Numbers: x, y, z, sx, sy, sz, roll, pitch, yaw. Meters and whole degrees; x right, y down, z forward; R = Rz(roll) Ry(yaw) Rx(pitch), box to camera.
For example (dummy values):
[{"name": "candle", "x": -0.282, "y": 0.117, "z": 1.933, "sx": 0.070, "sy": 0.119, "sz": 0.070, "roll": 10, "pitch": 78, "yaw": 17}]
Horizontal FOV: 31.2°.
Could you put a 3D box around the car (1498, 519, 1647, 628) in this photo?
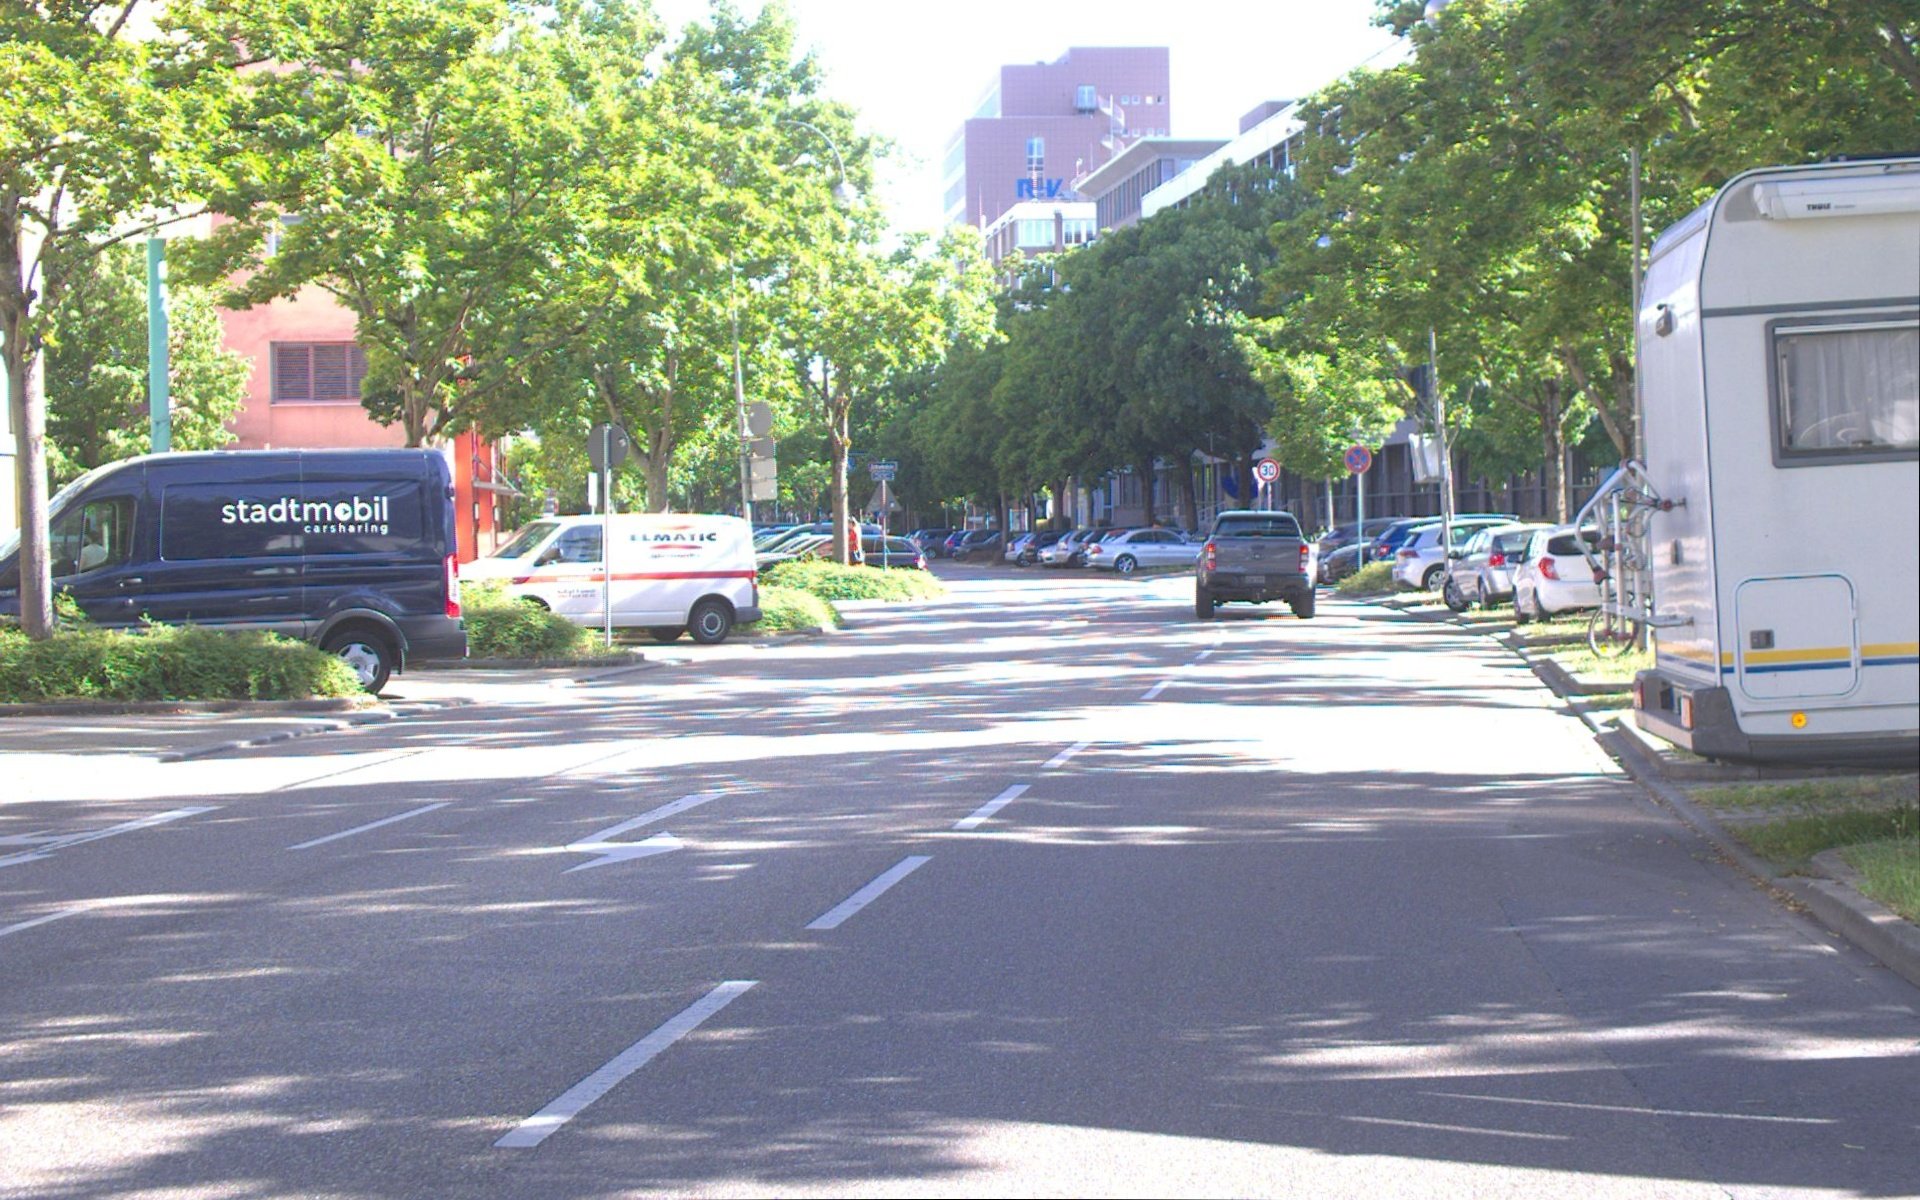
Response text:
[{"name": "car", "x": 9.017, "y": -0.419, "z": 50.814, "sx": 1.511, "sy": 1.477, "sz": 3.255, "roll": -3, "pitch": 1, "yaw": 0}]

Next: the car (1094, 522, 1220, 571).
[{"name": "car", "x": 6.477, "y": -1.763, "z": 113.215, "sx": 3.946, "sy": 1.392, "sz": 1.516, "roll": -3, "pitch": 1, "yaw": -2}]

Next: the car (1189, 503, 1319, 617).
[{"name": "car", "x": 5.090, "y": -0.735, "z": 59.841, "sx": 2.133, "sy": 1.829, "sz": 4.940, "roll": -1, "pitch": 2, "yaw": 4}]

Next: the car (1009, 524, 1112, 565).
[{"name": "car", "x": 4.003, "y": -2.208, "z": 137.189, "sx": 3.946, "sy": 1.392, "sz": 1.516, "roll": -3, "pitch": 1, "yaw": -2}]

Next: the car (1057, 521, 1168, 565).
[{"name": "car", "x": 5.691, "y": -2.135, "z": 128.226, "sx": 3.946, "sy": 1.392, "sz": 1.516, "roll": -3, "pitch": 1, "yaw": -2}]

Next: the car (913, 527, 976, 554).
[{"name": "car", "x": -0.827, "y": -3.153, "z": 182.292, "sx": 3.214, "sy": 1.224, "sz": 1.263, "roll": -3, "pitch": 1, "yaw": -2}]

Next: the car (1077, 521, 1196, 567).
[{"name": "car", "x": 6.162, "y": -1.961, "z": 120.329, "sx": 3.946, "sy": 1.392, "sz": 1.516, "roll": -3, "pitch": 1, "yaw": -2}]

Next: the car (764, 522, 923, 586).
[{"name": "car", "x": -2.918, "y": -1.150, "z": 85.931, "sx": 3.883, "sy": 1.360, "sz": 1.410, "roll": -3, "pitch": 1, "yaw": -2}]

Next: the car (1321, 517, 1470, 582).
[{"name": "car", "x": 9.914, "y": -1.165, "z": 78.477, "sx": 3.244, "sy": 1.273, "sz": 1.516, "roll": -3, "pitch": 1, "yaw": 5}]

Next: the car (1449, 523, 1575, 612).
[{"name": "car", "x": 9.398, "y": -0.570, "z": 58.705, "sx": 1.511, "sy": 1.392, "sz": 3.255, "roll": -3, "pitch": 1, "yaw": 0}]

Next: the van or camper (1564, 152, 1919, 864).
[{"name": "van or camper", "x": 5.973, "y": -0.542, "z": 15.467, "sx": 6.080, "sy": 2.918, "sz": 2.575, "roll": -3, "pitch": 1, "yaw": 6}]

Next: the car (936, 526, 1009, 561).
[{"name": "car", "x": 0.559, "y": -2.583, "z": 156.881, "sx": 3.214, "sy": 1.405, "sz": 1.263, "roll": -3, "pitch": 1, "yaw": -2}]

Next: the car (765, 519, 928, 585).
[{"name": "car", "x": -2.792, "y": -1.184, "z": 84.157, "sx": 3.883, "sy": 1.360, "sz": 1.410, "roll": -3, "pitch": 1, "yaw": -2}]

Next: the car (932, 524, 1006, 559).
[{"name": "car", "x": 0.408, "y": -2.725, "z": 159.699, "sx": 3.278, "sy": 1.392, "sz": 1.516, "roll": -3, "pitch": 1, "yaw": -2}]

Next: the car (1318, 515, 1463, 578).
[{"name": "car", "x": 10.086, "y": -1.268, "z": 80.701, "sx": 3.244, "sy": 1.273, "sz": 1.516, "roll": -3, "pitch": 1, "yaw": 5}]

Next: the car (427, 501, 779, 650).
[{"name": "car", "x": -5.404, "y": -0.398, "z": 52.178, "sx": 4.883, "sy": 2.076, "sz": 1.986, "roll": -2, "pitch": 1, "yaw": -28}]

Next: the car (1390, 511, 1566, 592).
[{"name": "car", "x": 10.152, "y": -0.964, "z": 67.499, "sx": 3.244, "sy": 1.392, "sz": 1.516, "roll": -3, "pitch": 1, "yaw": 5}]

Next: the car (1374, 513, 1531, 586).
[{"name": "car", "x": 10.785, "y": -1.108, "z": 75.409, "sx": 3.244, "sy": 1.392, "sz": 1.516, "roll": -3, "pitch": 1, "yaw": 5}]

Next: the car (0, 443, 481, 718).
[{"name": "car", "x": -7.589, "y": -0.223, "z": 34.151, "sx": 5.259, "sy": 2.537, "sz": 1.986, "roll": -2, "pitch": 1, "yaw": -19}]
